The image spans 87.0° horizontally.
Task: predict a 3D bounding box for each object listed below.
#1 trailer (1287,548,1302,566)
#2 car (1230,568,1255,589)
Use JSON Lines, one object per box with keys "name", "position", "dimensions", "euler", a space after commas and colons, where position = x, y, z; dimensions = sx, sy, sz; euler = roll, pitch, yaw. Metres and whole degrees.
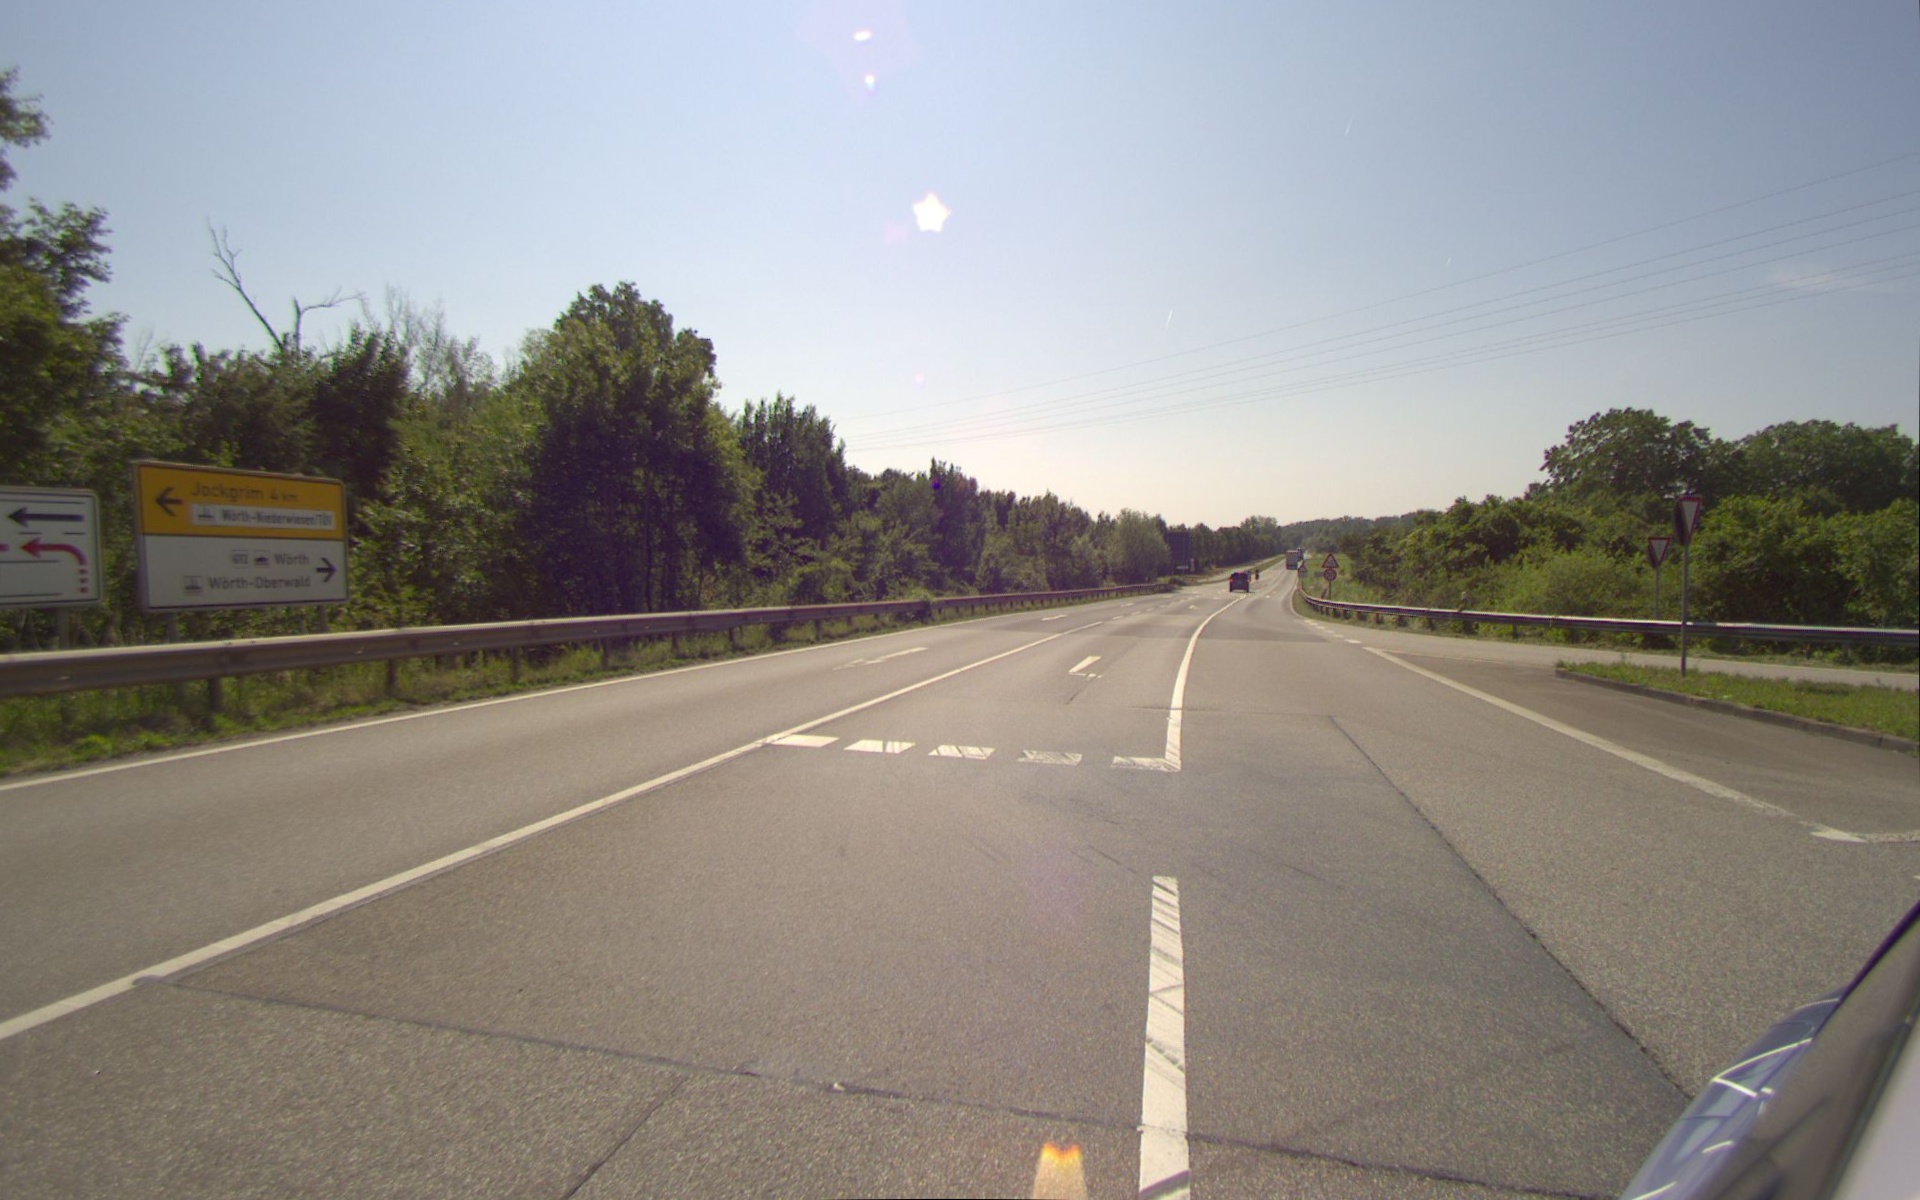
{"name": "trailer", "position": [76.718, -9.891, 232.196], "dimensions": [2.893, 4.060, 13.333], "euler": [1, 2, 20]}
{"name": "car", "position": [27.206, -2.071, 97.470], "dimensions": [1.974, 1.903, 4.963], "euler": [1, 1, 19]}
